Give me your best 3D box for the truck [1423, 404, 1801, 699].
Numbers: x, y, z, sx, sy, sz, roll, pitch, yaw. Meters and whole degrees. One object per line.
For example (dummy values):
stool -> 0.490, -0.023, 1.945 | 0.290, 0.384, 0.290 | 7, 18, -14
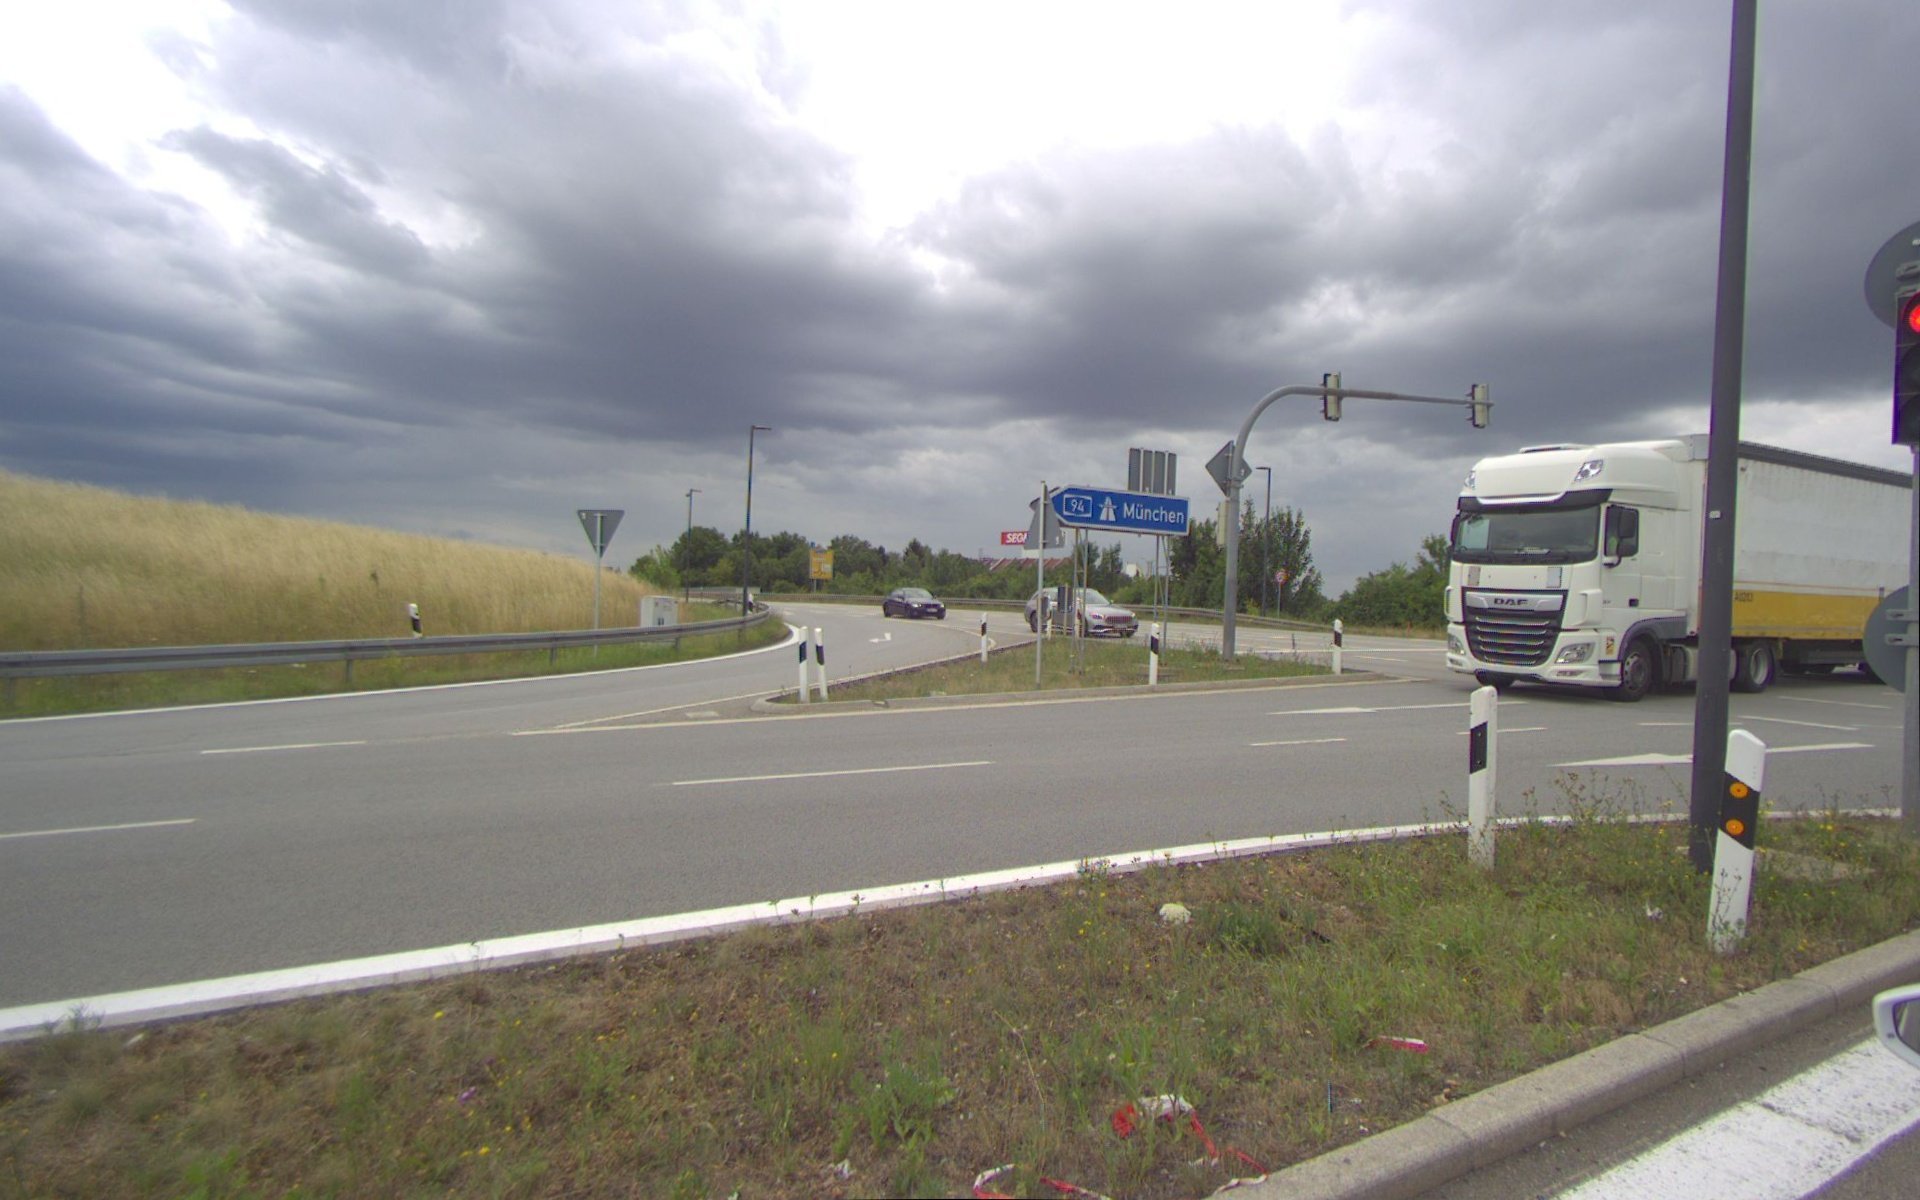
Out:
truck -> 11.101, -0.612, 16.997 | 6.325, 4.196, 2.638 | 2, 0, -29

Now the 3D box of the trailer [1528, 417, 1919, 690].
trailer -> 16.850, -0.536, 20.232 | 13.674, 4.266, 2.680 | 2, 0, -29

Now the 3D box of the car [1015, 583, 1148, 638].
car -> 3.832, 0.292, 32.630 | 1.896, 1.632, 4.916 | 2, 0, -26

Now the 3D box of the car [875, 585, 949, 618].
car -> -2.254, 0.053, 45.824 | 1.690, 1.429, 4.644 | 2, 0, -26
